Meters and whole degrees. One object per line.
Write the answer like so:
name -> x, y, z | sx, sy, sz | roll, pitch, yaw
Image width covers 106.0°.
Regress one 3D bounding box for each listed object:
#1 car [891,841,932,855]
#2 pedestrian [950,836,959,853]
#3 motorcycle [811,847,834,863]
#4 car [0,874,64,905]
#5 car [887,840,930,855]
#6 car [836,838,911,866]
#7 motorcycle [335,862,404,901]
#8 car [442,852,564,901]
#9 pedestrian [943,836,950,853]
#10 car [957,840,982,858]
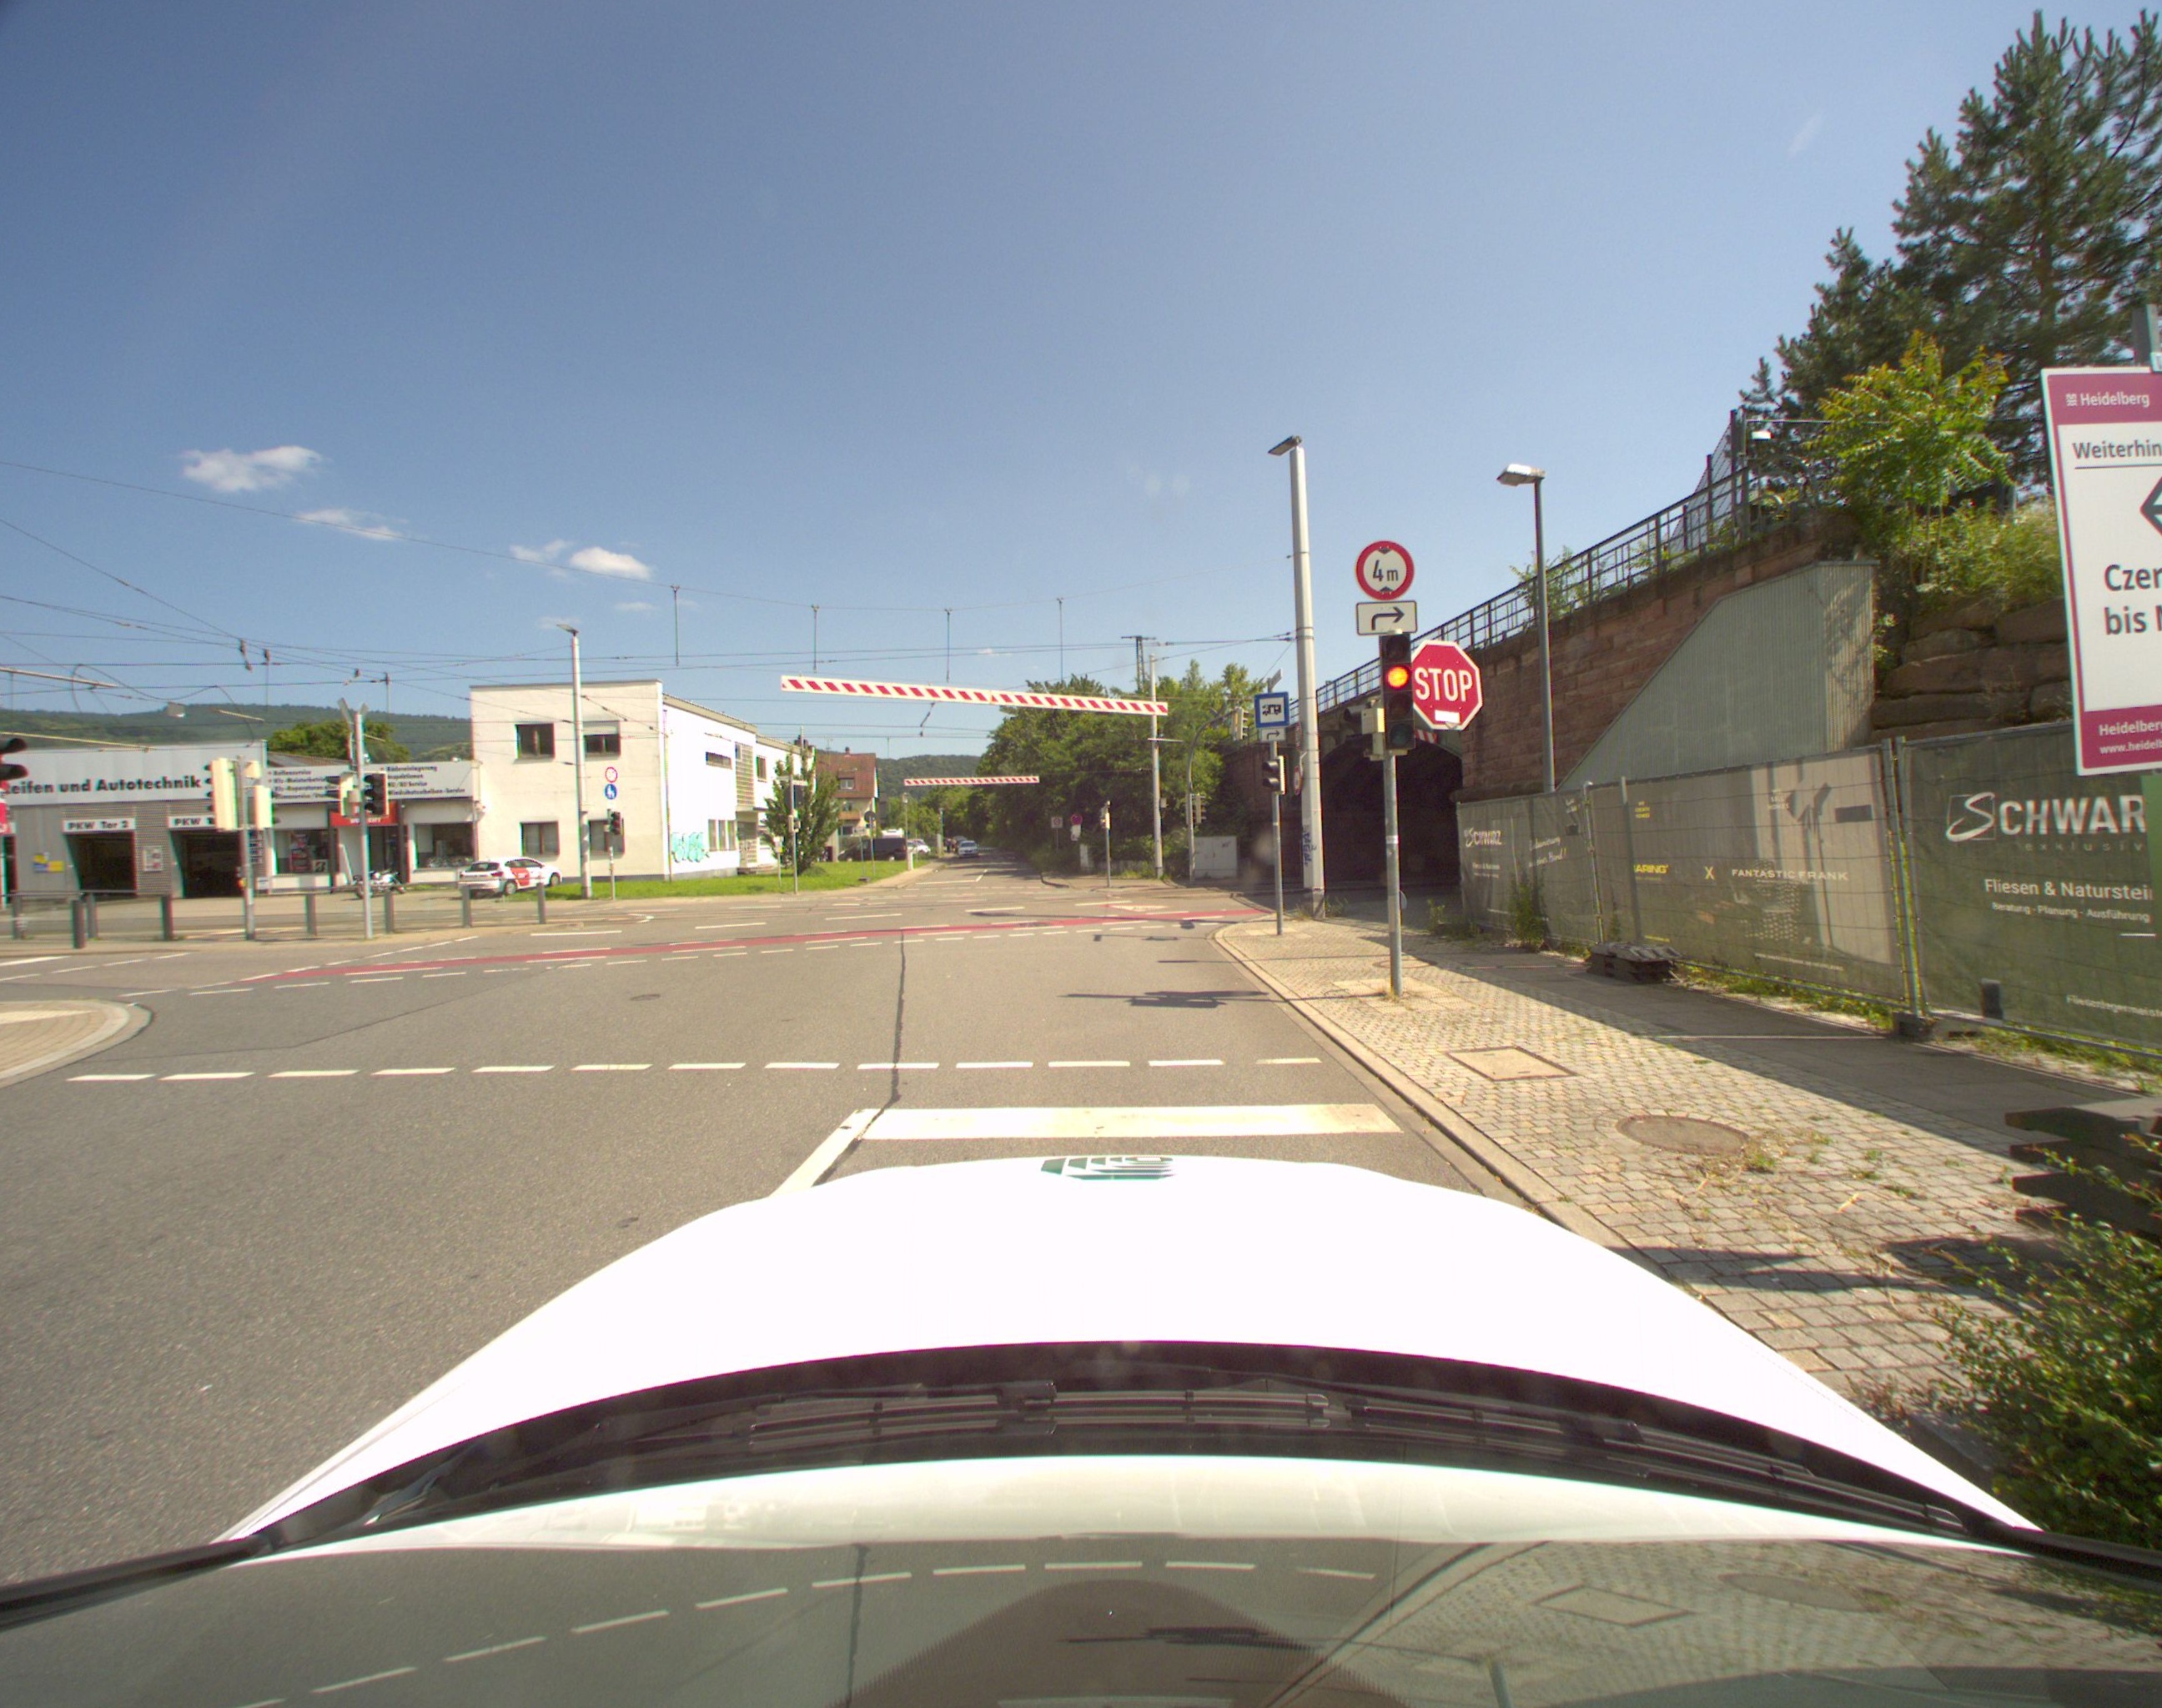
car -> -16.288, -0.567, 78.418 | 3.715, 1.371, 1.601 | 0, 0, -6
pedestrian -> -12.897, -0.939, 83.086 | 0.875, 1.763, 0.729 | 0, -1, -7
motorcycle -> -17.578, 0.060, 55.473 | 0.850, 1.032, 2.564 | 0, -1, -3
car -> -52.555, 1.753, 39.511 | 1.716, 1.376, 3.769 | -2, 1, -4
car -> -16.100, -0.571, 75.993 | 3.715, 1.371, 1.601 | 0, -1, -6
car -> -15.658, -0.167, 61.754 | 5.245, 1.816, 1.995 | -3, 1, -8
motorcycle -> -28.299, 1.055, 32.455 | 0.726, 1.308, 2.191 | -2, 4, 0
car -> -22.642, 0.838, 32.130 | 1.878, 1.462, 4.001 | -2, 4, -1
pedestrian -> -13.728, -0.954, 83.198 | 0.653, 1.763, 0.802 | 0, -1, -7
car -> -10.002, -0.515, 73.170 | 2.084, 1.510, 4.530 | 0, 2, -6
